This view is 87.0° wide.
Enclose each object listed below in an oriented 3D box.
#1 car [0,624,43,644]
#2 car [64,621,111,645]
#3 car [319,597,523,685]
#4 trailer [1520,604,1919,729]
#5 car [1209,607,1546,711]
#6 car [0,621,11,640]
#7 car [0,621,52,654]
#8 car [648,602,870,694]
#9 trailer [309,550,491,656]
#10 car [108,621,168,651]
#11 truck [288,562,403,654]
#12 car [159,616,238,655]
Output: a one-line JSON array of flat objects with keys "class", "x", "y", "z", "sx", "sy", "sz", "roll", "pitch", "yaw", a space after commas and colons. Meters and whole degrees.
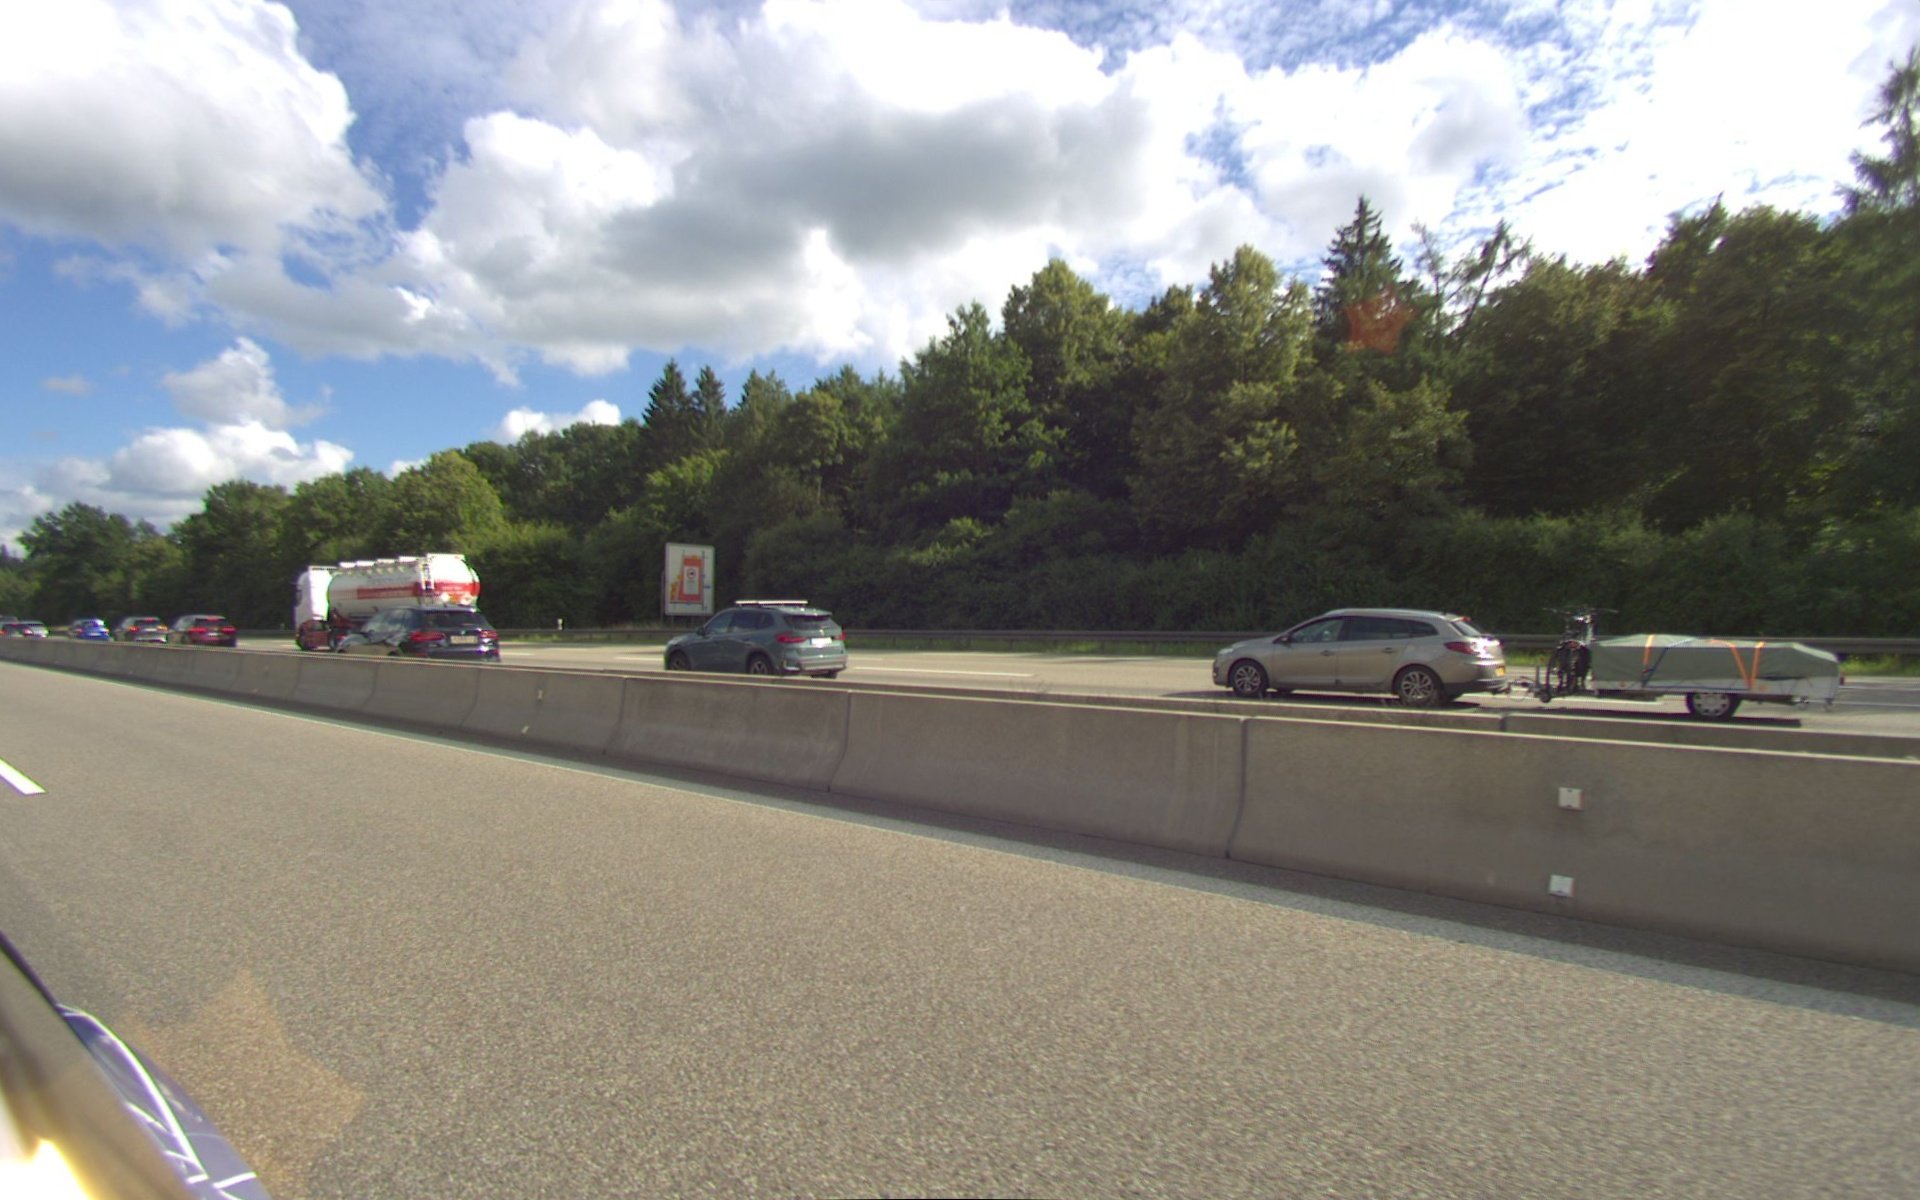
[{"class": "car", "x": -74.122, "y": 2.635, "z": 79.865, "sx": 5.127, "sy": 1.495, "sz": 1.973, "roll": -1, "pitch": -1, "yaw": 40}, {"class": "car", "x": -56.995, "y": 2.149, "z": 66.091, "sx": 3.994, "sy": 1.523, "sz": 1.613, "roll": -1, "pitch": -1, "yaw": 38}, {"class": "car", "x": -11.963, "y": 0.853, "z": 22.285, "sx": 5.346, "sy": 1.713, "sz": 2.133, "roll": -1, "pitch": -1, "yaw": 40}, {"class": "trailer", "x": 9.881, "y": 0.793, "z": 13.314, "sx": 4.177, "sy": 1.413, "sz": 1.518, "roll": -1, "pitch": -1, "yaw": 41}, {"class": "car", "x": 6.565, "y": 0.864, "z": 16.270, "sx": 4.673, "sy": 1.425, "sz": 1.808, "roll": -1, "pitch": -1, "yaw": 42}, {"class": "car", "x": -91.838, "y": 2.905, "z": 96.081, "sx": 5.121, "sy": 1.818, "sz": 1.973, "roll": -1, "pitch": -1, "yaw": 40}, {"class": "car", "x": -56.658, "y": 2.227, "z": 60.983, "sx": 4.976, "sy": 1.892, "sz": 2.149, "roll": -1, "pitch": -2, "yaw": 40}, {"class": "car", "x": -4.202, "y": 0.920, "z": 20.740, "sx": 4.683, "sy": 1.676, "sz": 1.974, "roll": -1, "pitch": -1, "yaw": 40}, {"class": "trailer", "x": -24.075, "y": 0.220, "z": 43.044, "sx": 12.246, "sy": 3.975, "sz": 2.759, "roll": -1, "pitch": -1, "yaw": 41}, {"class": "car", "x": -46.835, "y": 2.018, "z": 57.631, "sx": 4.744, "sy": 1.632, "sz": 1.841, "roll": -1, "pitch": -1, "yaw": 40}, {"class": "truck", "x": -28.638, "y": 0.416, "z": 47.051, "sx": 6.442, "sy": 3.975, "sz": 2.759, "roll": -1, "pitch": -1, "yaw": 41}, {"class": "car", "x": -35.361, "y": 1.625, "z": 46.921, "sx": 5.207, "sy": 1.683, "sz": 1.836, "roll": -1, "pitch": -1, "yaw": 40}]
